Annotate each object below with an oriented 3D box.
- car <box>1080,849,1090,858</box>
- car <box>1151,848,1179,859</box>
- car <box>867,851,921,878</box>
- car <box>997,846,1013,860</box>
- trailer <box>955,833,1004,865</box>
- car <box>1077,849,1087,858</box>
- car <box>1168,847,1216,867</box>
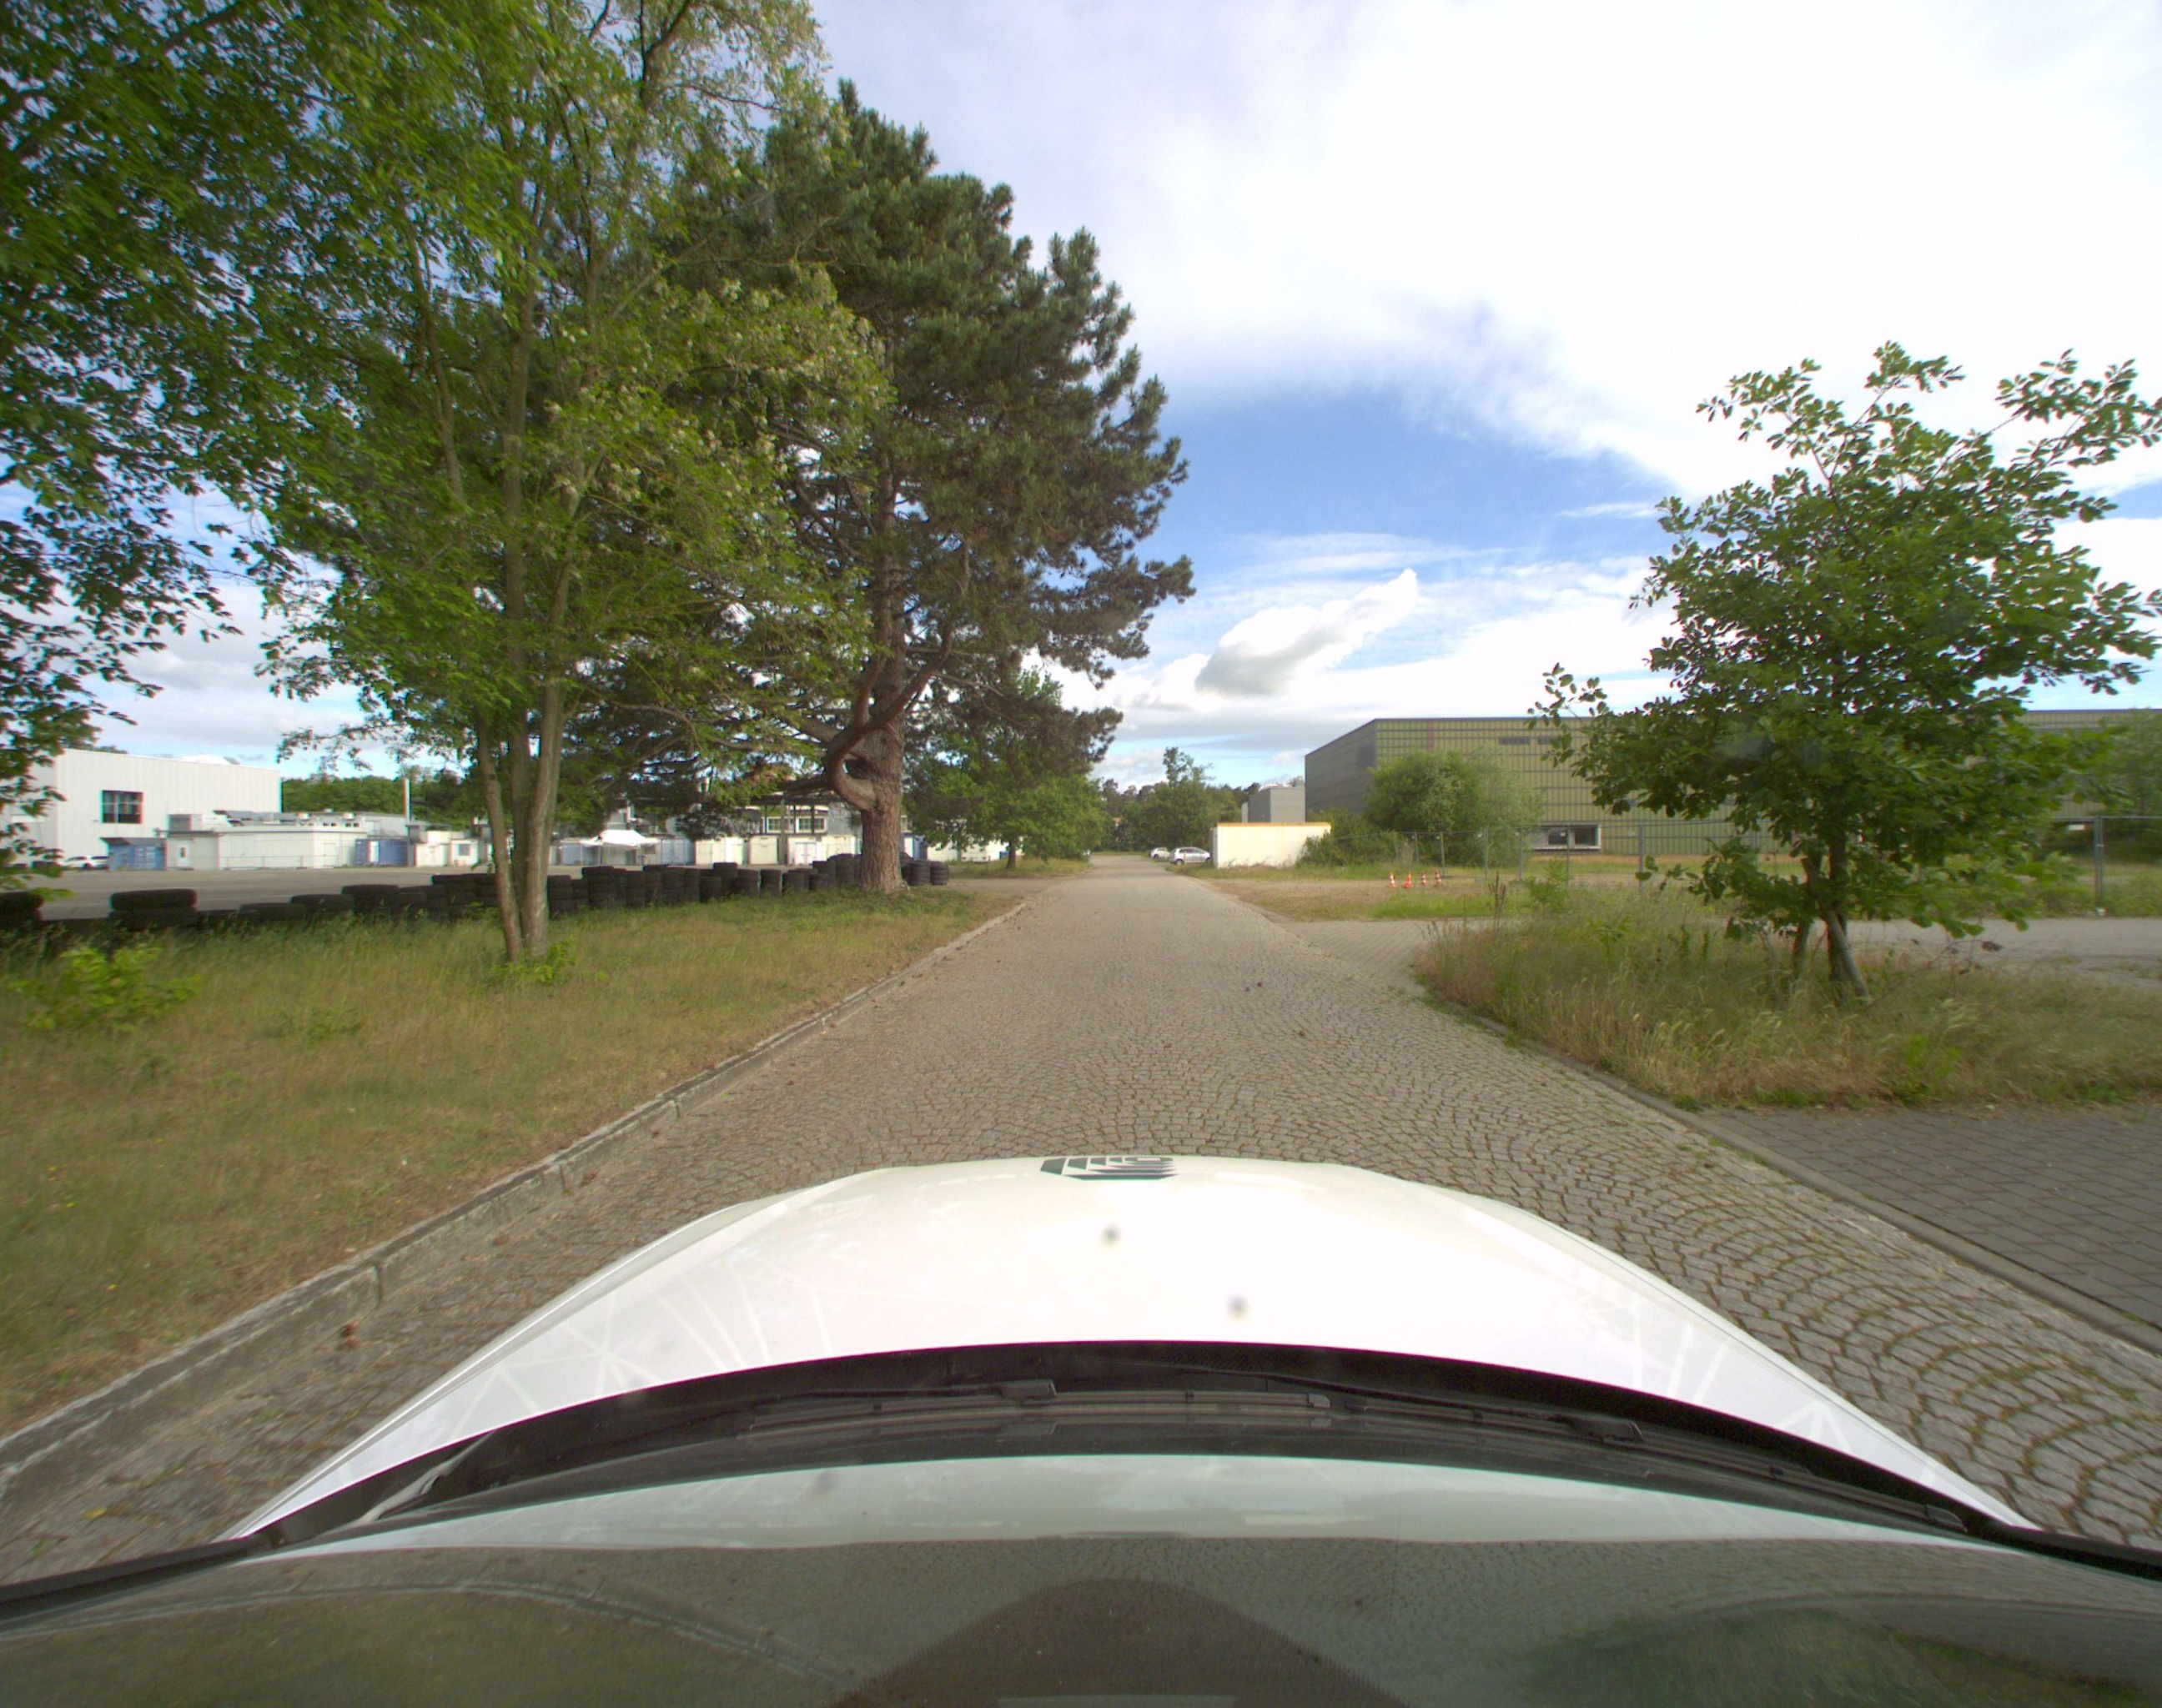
[{"bbox_3d":[0.738,-0.141,144.496,1.798,1.535,4.000,-1,0,0],"label":"car"},{"bbox_3d":[11.918,-0.091,115.623,4.008,1.502,1.550,-1,0,3],"label":"car"},{"bbox_3d":[-10.359,0.555,45.429,1.757,1.453,3.496,0,0,8],"label":"car"},{"bbox_3d":[-11.473,-0.167,123.552,1.919,2.047,4.600,-1,0,0],"label":"car"},{"bbox_3d":[-10.189,-0.536,82.926,3.144,3.067,8.795,0,0,5],"label":"trailer"},{"bbox_3d":[0.165,-0.073,135.147,1.729,1.469,4.046,-1,0,0],"label":"car"},{"bbox_3d":[9.440,0.273,69.500,3.837,1.654,1.686,-1,0,0],"label":"car"}]
